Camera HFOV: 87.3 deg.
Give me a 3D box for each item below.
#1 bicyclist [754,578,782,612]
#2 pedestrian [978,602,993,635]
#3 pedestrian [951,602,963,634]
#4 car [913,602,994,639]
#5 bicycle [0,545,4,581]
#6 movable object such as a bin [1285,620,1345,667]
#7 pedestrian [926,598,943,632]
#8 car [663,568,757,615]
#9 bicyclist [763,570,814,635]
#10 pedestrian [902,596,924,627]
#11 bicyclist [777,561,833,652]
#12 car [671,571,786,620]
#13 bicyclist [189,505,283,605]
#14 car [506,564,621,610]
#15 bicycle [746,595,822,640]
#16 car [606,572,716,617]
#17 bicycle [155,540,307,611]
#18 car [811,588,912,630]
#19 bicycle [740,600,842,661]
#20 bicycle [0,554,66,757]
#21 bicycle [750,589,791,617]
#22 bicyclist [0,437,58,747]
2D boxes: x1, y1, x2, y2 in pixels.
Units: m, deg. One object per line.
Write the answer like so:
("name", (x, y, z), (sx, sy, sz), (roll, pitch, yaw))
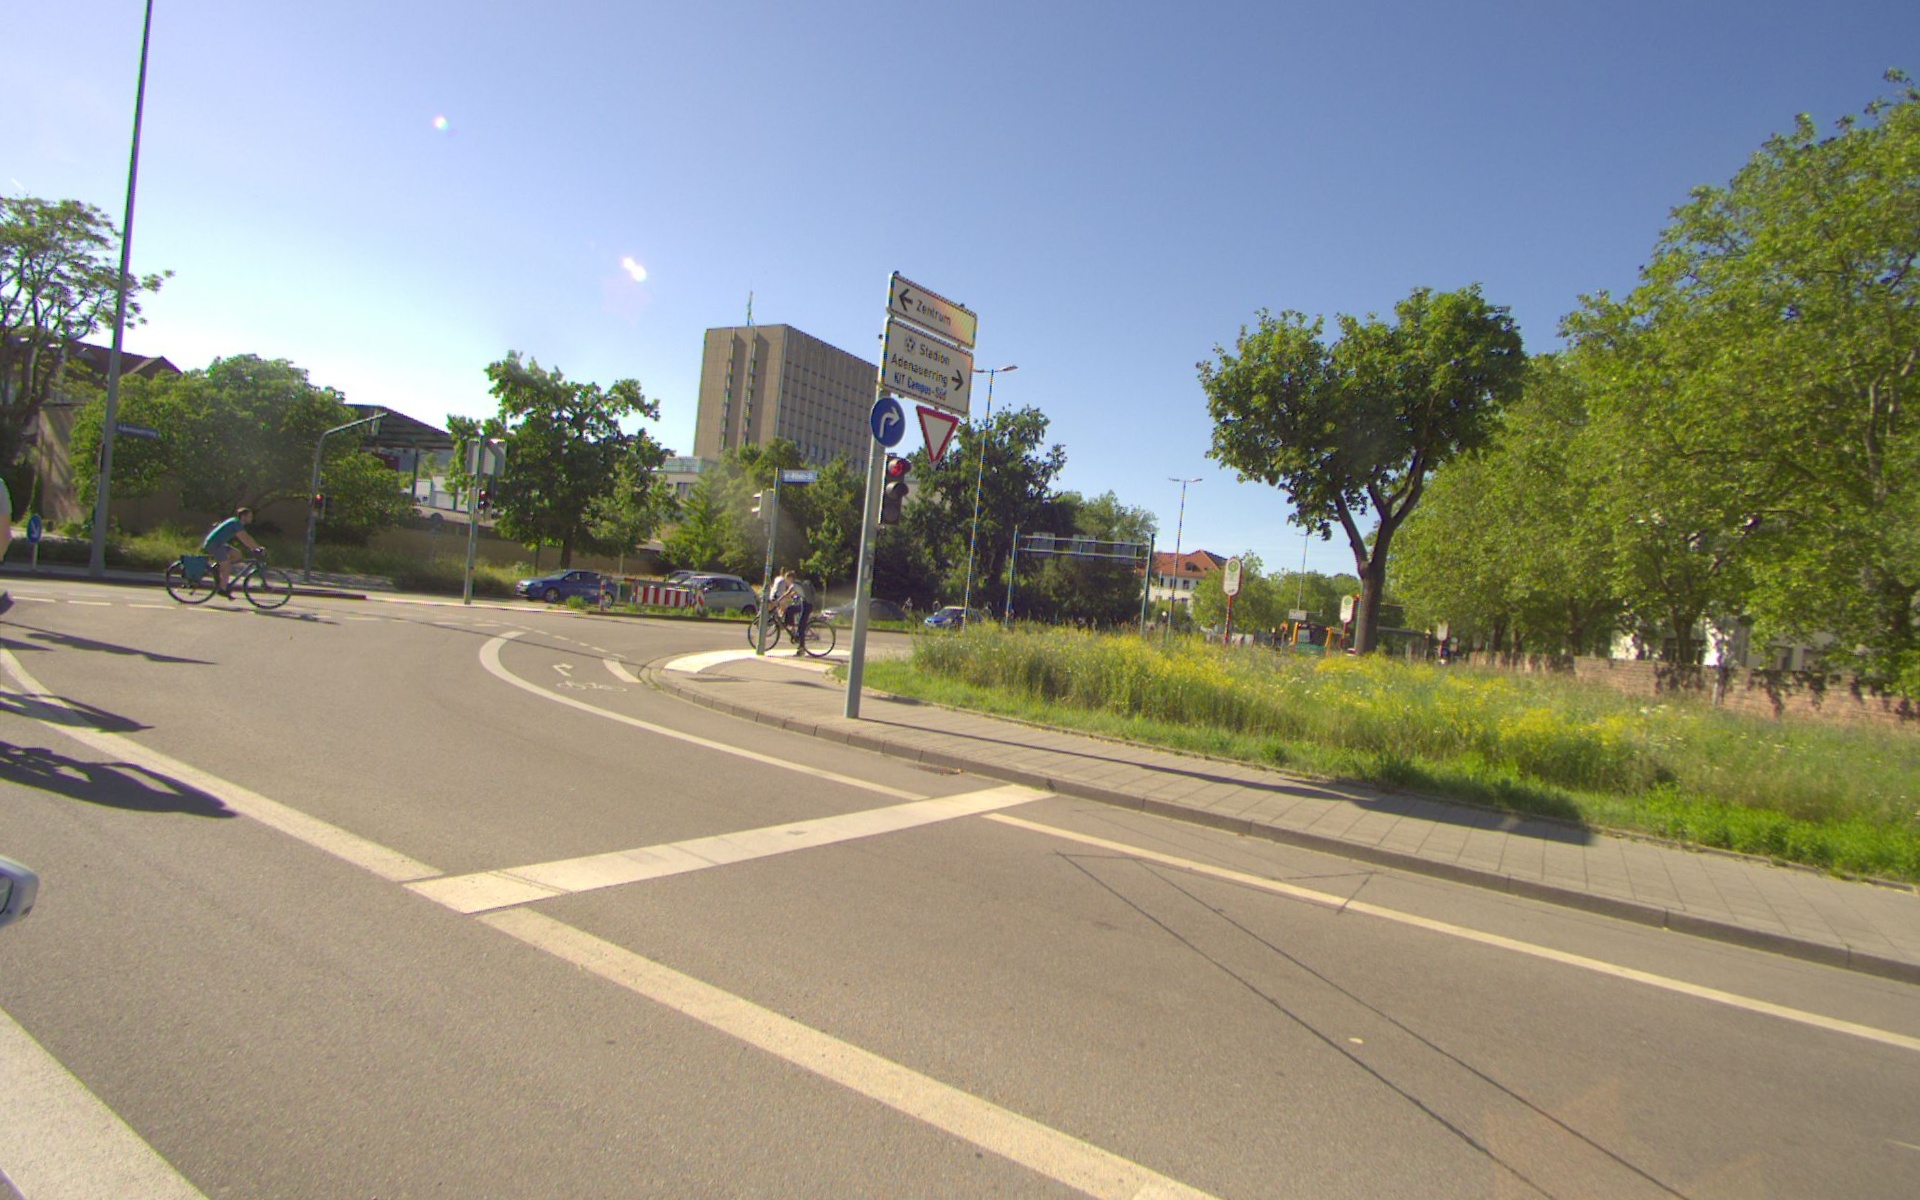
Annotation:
("bicyclist", (-8.252, -0.201, 43.240), (0.602, 1.360, 0.874), (7, 1, 37))
("pedestrian", (1.987, 1.419, 78.358), (0.710, 2.451, 0.585), (6, -1, 34))
("pedestrian", (-0.219, 1.409, 78.145), (0.401, 2.451, 0.467), (6, -1, 34))
("car", (-0.293, 1.050, 50.450), (1.916, 1.415, 3.986), (6, 0, 37))
("bicycle", (-8.212, 0.021, 7.754), (1.890, 1.102, 0.690), (6, -1, 32))
("movable object such as a bin", (25.968, 3.088, 73.393), (2.953, 2.901, 9.174), (7, 2, 25))
("pedestrian", (-1.886, 1.126, 75.024), (0.660, 2.451, 0.770), (6, -1, 34))
("car", (-11.841, -0.367, 47.789), (1.767, 1.771, 3.986), (7, 0, 37))
("bicyclist", (-4.330, 0.082, 25.417), (0.509, 1.548, 1.067), (7, 2, 39))
("pedestrian", (-3.379, 0.818, 71.896), (0.752, 2.039, 1.267), (7, 1, 36))
("bicyclist", (-3.035, 0.124, 19.699), (0.898, 1.667, 0.630), (6, 1, -9))
("car", (-8.738, -0.130, 38.282), (1.767, 1.415, 3.986), (7, 0, 37))
("bicyclist", (-11.992, -0.729, 16.672), (0.632, 1.533, 1.049), (7, 2, 39))
("car", (-16.209, -0.526, 41.311), (1.767, 1.415, 3.986), (7, 0, 37))
("bicycle", (-4.424, 0.453, 25.349), (0.514, 1.000, 1.965), (7, 1, 39))
("car", (-12.298, -0.200, 41.564), (1.767, 1.415, 3.986), (7, 0, 37))
("bicycle", (-12.040, -0.382, 16.662), (0.640, 0.986, 1.895), (7, 1, 39))
("car", (-4.308, 0.436, 44.623), (1.767, 1.415, 4.557), (7, 0, 37))
("bicycle", (-3.289, 0.591, 19.671), (1.856, 0.970, 0.635), (7, 1, -10))
("bicycle", (-6.261, 0.240, 6.082), (1.890, 1.102, 0.690), (6, -1, 32))
("bicycle", (-8.174, 0.140, 43.396), (0.602, 1.046, 1.681), (7, 0, 37))
("bicyclist", (-6.188, -0.103, 6.061), (1.123, 1.813, 0.684), (7, 0, 32))
